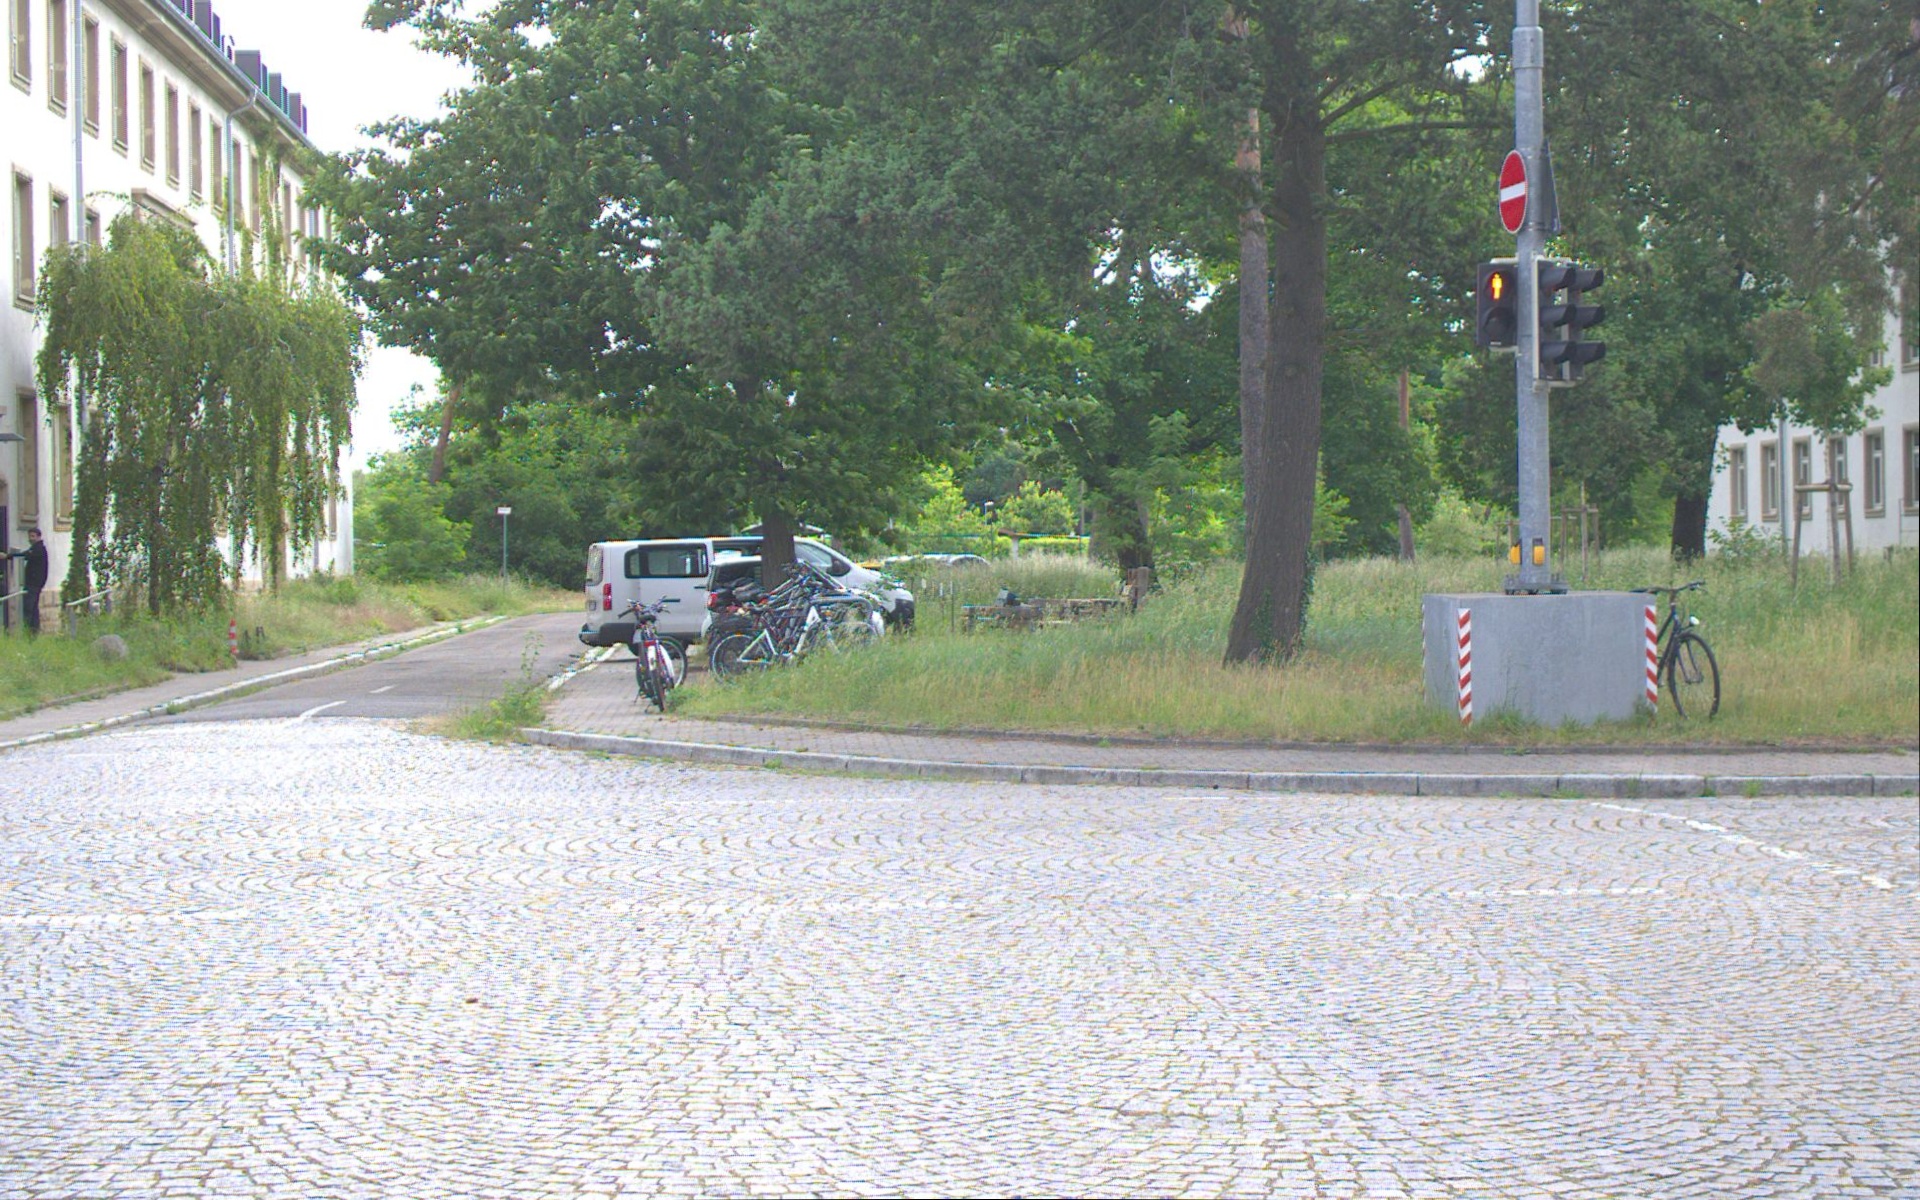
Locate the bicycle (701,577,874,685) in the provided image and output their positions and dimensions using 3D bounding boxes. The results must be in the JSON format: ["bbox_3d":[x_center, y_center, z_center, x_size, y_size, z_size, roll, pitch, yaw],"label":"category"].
[{"bbox_3d":[-2.007,0.358,39.896,1.982,1.243,0.624,0,0,-5],"label":"bicycle"}]

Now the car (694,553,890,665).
[{"bbox_3d":[-2.529,0.127,51.462,2.847,1.552,1.472,-1,2,-4],"label":"car"}]

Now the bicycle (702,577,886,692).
[{"bbox_3d":[-1.818,0.373,37.483,1.982,1.243,0.624,0,0,-5],"label":"bicycle"}]

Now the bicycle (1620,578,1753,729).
[{"bbox_3d":[5.225,0.369,24.795,0.580,0.967,1.678,-3,2,1],"label":"bicycle"}]

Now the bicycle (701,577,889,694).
[{"bbox_3d":[-1.771,0.376,36.856,1.982,1.243,0.624,0,0,-5],"label":"bicycle"}]

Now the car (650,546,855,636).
[{"bbox_3d":[-4.161,-0.186,68.764,4.031,1.712,1.681,-1,0,-5],"label":"car"}]

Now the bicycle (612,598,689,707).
[{"bbox_3d":[-3.177,0.524,35.357,0.622,1.079,1.677,0,0,1],"label":"bicycle"}]

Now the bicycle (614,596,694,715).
[{"bbox_3d":[-2.965,0.520,33.411,0.622,1.110,1.989,0,0,-1],"label":"bicycle"}]

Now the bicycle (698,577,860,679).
[{"bbox_3d":[-2.242,0.342,42.498,1.982,1.243,0.624,0,0,-5],"label":"bicycle"}]

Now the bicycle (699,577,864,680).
[{"bbox_3d":[-2.189,0.345,42.006,1.982,1.243,0.624,0,0,-5],"label":"bicycle"}]

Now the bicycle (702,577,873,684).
[{"bbox_3d":[-2.031,0.355,40.421,1.982,1.243,0.624,0,0,-5],"label":"bicycle"}]

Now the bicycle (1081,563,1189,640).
[{"bbox_3d":[2.571,0.020,50.675,1.549,1.121,0.401,-1,0,-2],"label":"bicycle"}]

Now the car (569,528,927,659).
[{"bbox_3d":[-3.392,-0.126,54.895,5.303,1.909,2.150,-2,1,-18],"label":"car"}]

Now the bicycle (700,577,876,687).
[{"bbox_3d":[-1.966,0.362,39.264,1.982,1.243,0.624,0,0,-5],"label":"bicycle"}]

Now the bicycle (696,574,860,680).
[{"bbox_3d":[-2.292,0.338,43.156,1.982,1.243,0.624,-2,0,-5],"label":"bicycle"}]

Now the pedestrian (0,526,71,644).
[{"bbox_3d":[-14.043,-0.232,52.122,0.837,1.775,0.941,-1,1,2],"label":"pedestrian"}]

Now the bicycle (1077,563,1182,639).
[{"bbox_3d":[2.557,0.010,51.908,1.549,1.121,0.401,-1,0,-2],"label":"bicycle"}]

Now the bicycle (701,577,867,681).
[{"bbox_3d":[-2.128,0.348,41.495,1.982,1.243,0.624,0,0,-5],"label":"bicycle"}]

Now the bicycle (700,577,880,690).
[{"bbox_3d":[-1.901,0.367,38.407,1.982,1.243,0.624,0,0,-5],"label":"bicycle"}]
